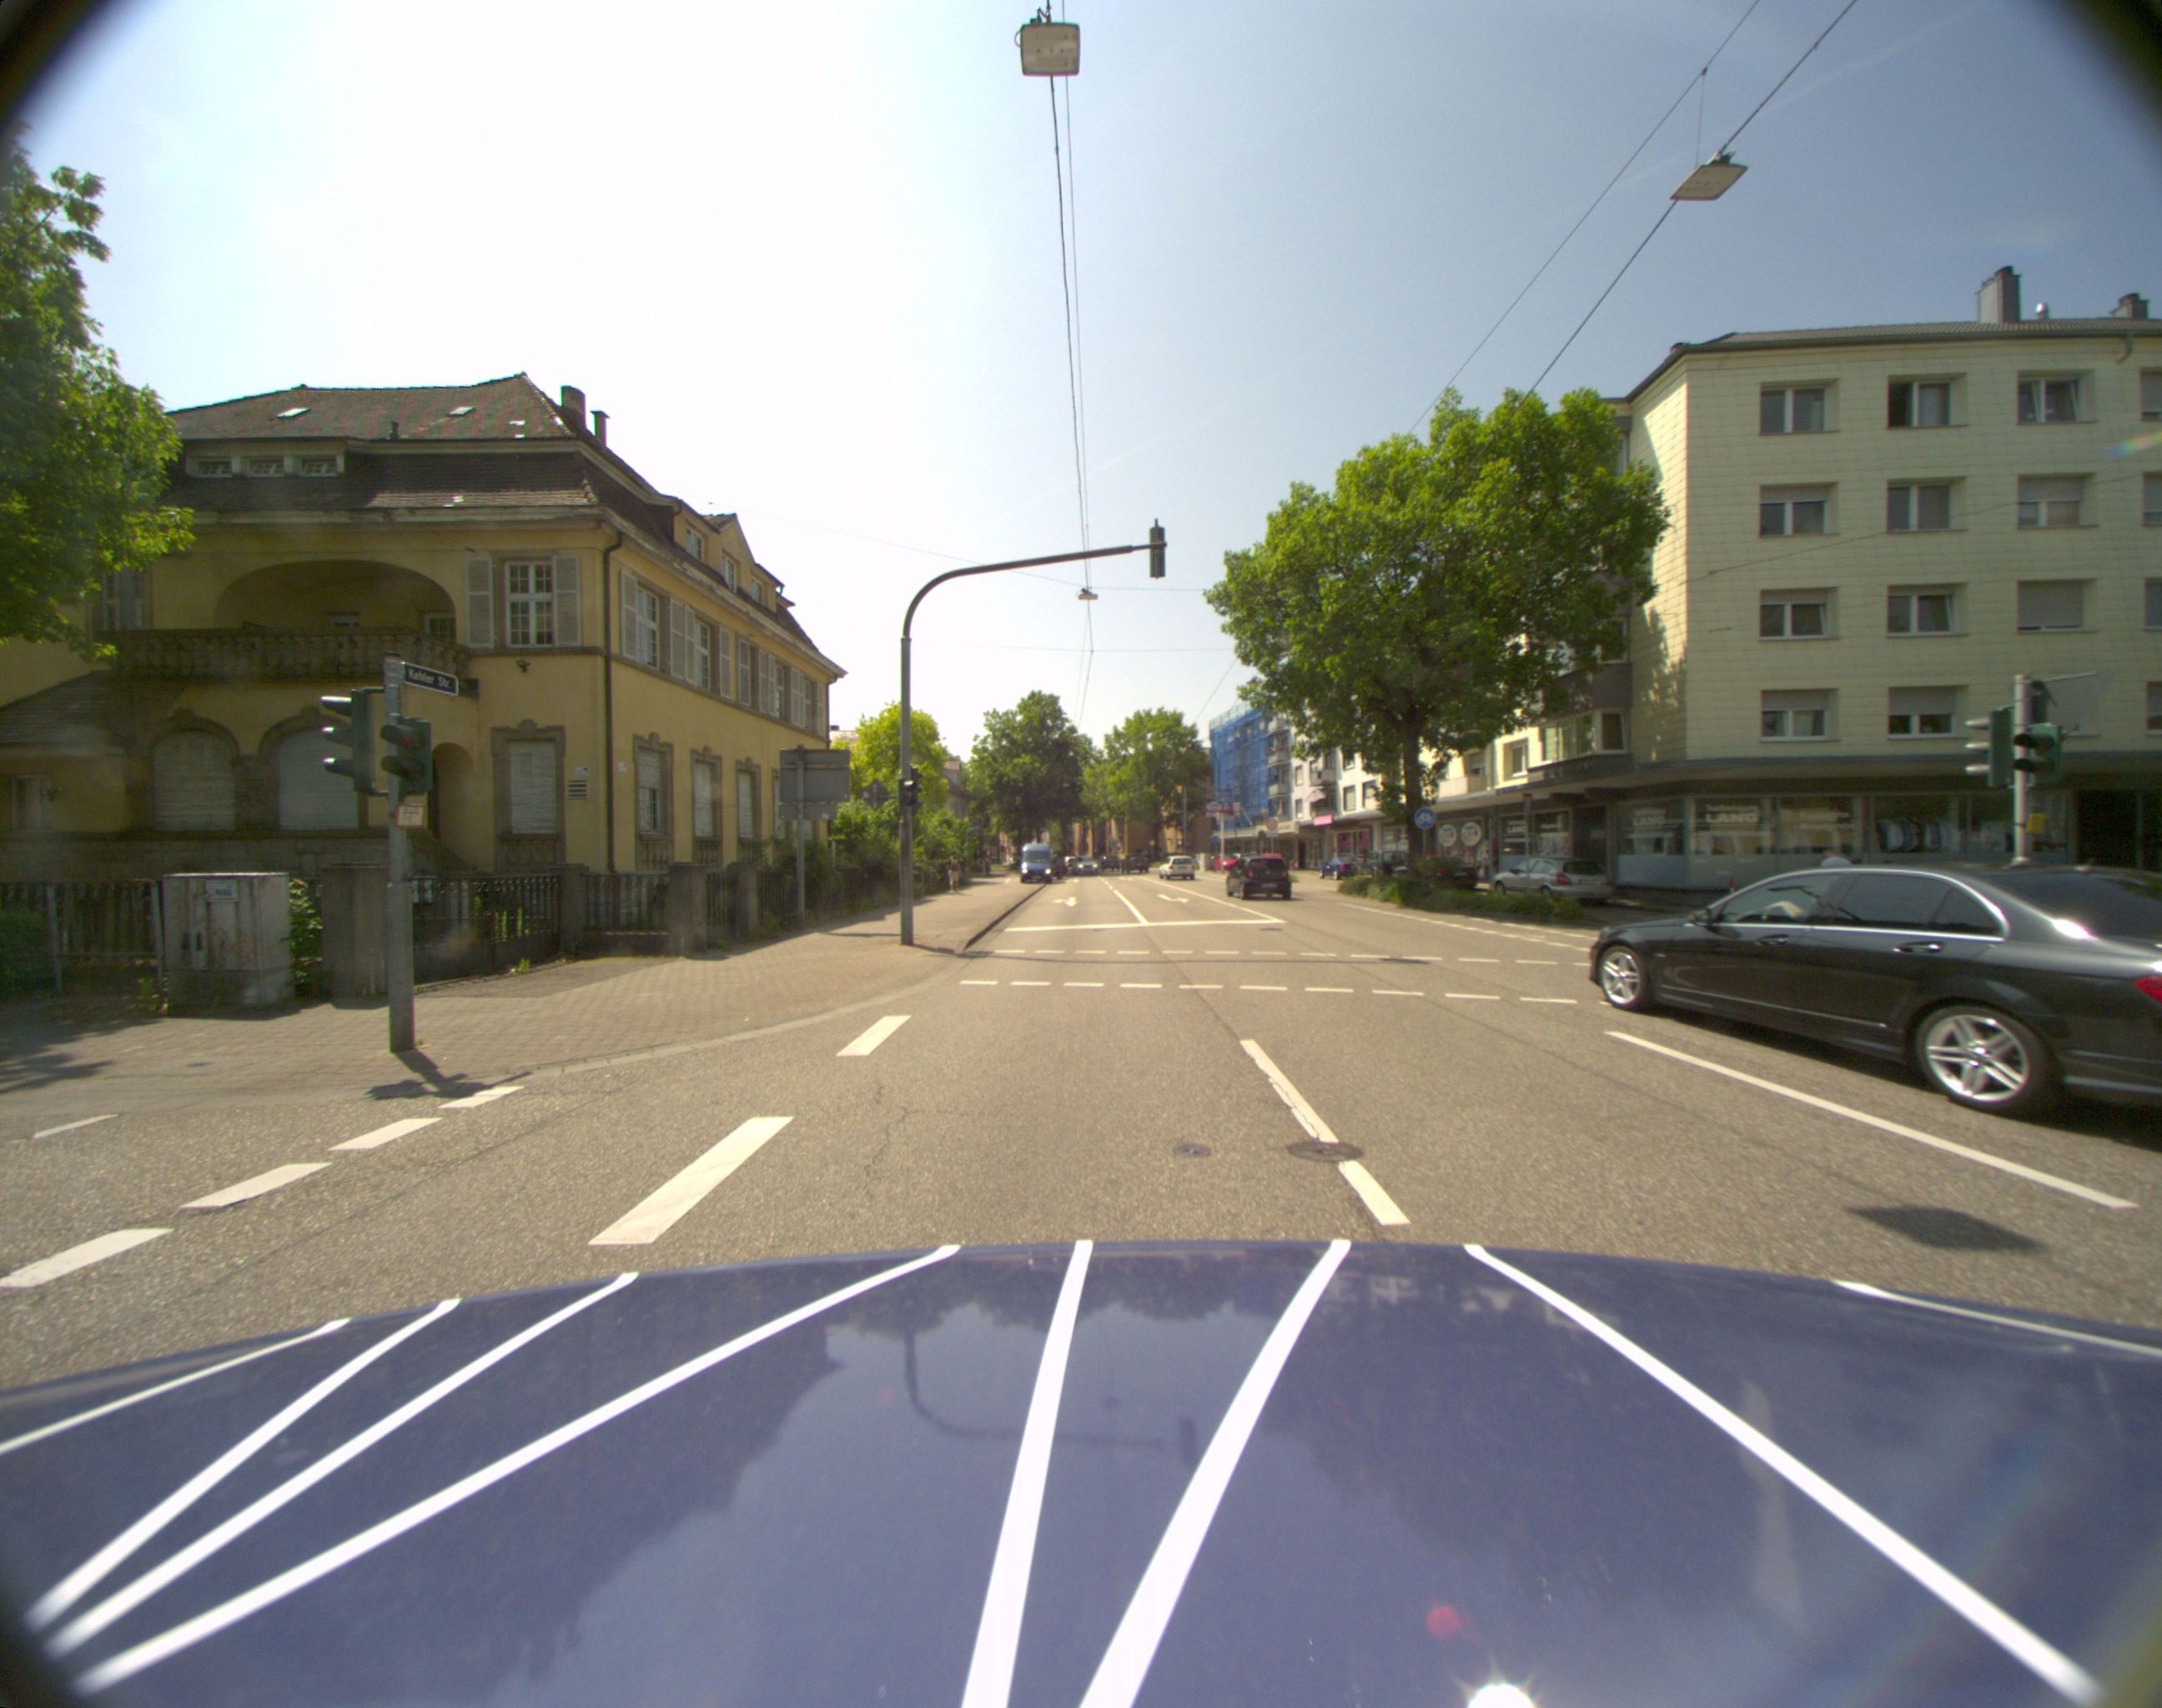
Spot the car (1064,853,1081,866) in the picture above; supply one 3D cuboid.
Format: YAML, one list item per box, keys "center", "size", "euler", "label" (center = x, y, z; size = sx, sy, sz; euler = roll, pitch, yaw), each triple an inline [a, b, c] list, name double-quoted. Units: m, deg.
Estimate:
- center: [-1.078, 0.714, 98.290]
  size: [1.707, 1.463, 3.554]
  euler: [-3, 3, -8]
  label: "car"

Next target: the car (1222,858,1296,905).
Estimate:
- center: [6.032, 0.916, 26.121]
  size: [1.620, 1.447, 3.710]
  euler: [1, -1, -1]
  label: "car"

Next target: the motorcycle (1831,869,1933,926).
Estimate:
- center: [21.376, 1.147, 20.292]
  size: [1.919, 1.412, 0.714]
  euler: [-1, 2, 2]
  label: "motorcycle"

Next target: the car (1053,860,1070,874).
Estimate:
- center: [-2.165, 1.439, 84.996]
  size: [1.735, 1.397, 4.332]
  euler: [-2, 0, -3]
  label: "car"

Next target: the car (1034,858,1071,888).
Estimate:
- center: [-2.067, 1.330, 55.775]
  size: [1.997, 2.002, 4.597]
  euler: [-2, 0, 6]
  label: "car"

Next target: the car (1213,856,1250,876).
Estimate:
- center: [11.858, 0.920, 60.172]
  size: [1.913, 1.511, 4.333]
  euler: [0, 0, -2]
  label: "car"

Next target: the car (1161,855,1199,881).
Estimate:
- center: [6.134, 0.855, 47.660]
  size: [1.820, 1.509, 4.631]
  euler: [0, 0, 0]
  label: "car"

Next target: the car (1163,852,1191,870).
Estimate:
- center: [10.037, 0.740, 79.760]
  size: [1.914, 1.794, 4.331]
  euler: [0, 0, -7]
  label: "car"

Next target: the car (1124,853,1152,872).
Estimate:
- center: [4.905, 0.745, 65.906]
  size: [1.985, 1.629, 4.225]
  euler: [0, 0, -2]
  label: "car"

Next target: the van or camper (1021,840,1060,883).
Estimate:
- center: [-2.518, 0.423, 48.795]
  size: [2.164, 2.567, 5.845]
  euler: [-2, 1, 0]
  label: "van or camper"

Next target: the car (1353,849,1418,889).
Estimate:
- center: [14.877, 0.727, 37.339]
  size: [1.643, 1.828, 3.860]
  euler: [-1, 0, 0]
  label: "car"

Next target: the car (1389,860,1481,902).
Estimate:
- center: [14.517, 1.060, 31.460]
  size: [1.626, 1.559, 4.839]
  euler: [-1, 0, 1]
  label: "car"

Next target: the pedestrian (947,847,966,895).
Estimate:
- center: [-5.042, 0.685, 30.725]
  size: [0.621, 1.907, 0.744]
  euler: [0, 1, 0]
  label: "pedestrian"

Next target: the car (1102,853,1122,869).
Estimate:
- center: [3.237, 0.696, 79.787]
  size: [1.928, 1.598, 3.999]
  euler: [-1, 0, -1]
  label: "car"

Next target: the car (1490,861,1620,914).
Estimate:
- center: [14.490, 0.978, 23.503]
  size: [1.586, 1.450, 3.940]
  euler: [-1, 0, 1]
  label: "car"

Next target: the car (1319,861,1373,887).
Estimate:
- center: [14.852, 1.096, 42.853]
  size: [1.704, 1.279, 3.861]
  euler: [-1, 0, 0]
  label: "car"

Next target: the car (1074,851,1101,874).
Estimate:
- center: [0.477, 0.696, 64.394]
  size: [1.999, 1.739, 4.444]
  euler: [-2, 0, -3]
  label: "car"

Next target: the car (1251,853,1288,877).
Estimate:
- center: [12.267, 0.683, 49.600]
  size: [1.639, 1.459, 3.634]
  euler: [0, 0, 1]
  label: "car"

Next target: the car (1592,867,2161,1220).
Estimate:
- center: [5.830, 0.913, 5.153]
  size: [1.760, 1.551, 4.317]
  euler: [1, 0, -1]
  label: "car"

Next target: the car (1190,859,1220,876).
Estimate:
- center: [11.467, 1.274, 70.501]
  size: [1.913, 1.511, 4.333]
  euler: [0, 0, -2]
  label: "car"

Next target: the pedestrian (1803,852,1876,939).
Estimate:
- center: [15.540, 0.862, 15.585]
  size: [0.628, 1.748, 0.743]
  euler: [0, -5, 1]
  label: "pedestrian"
